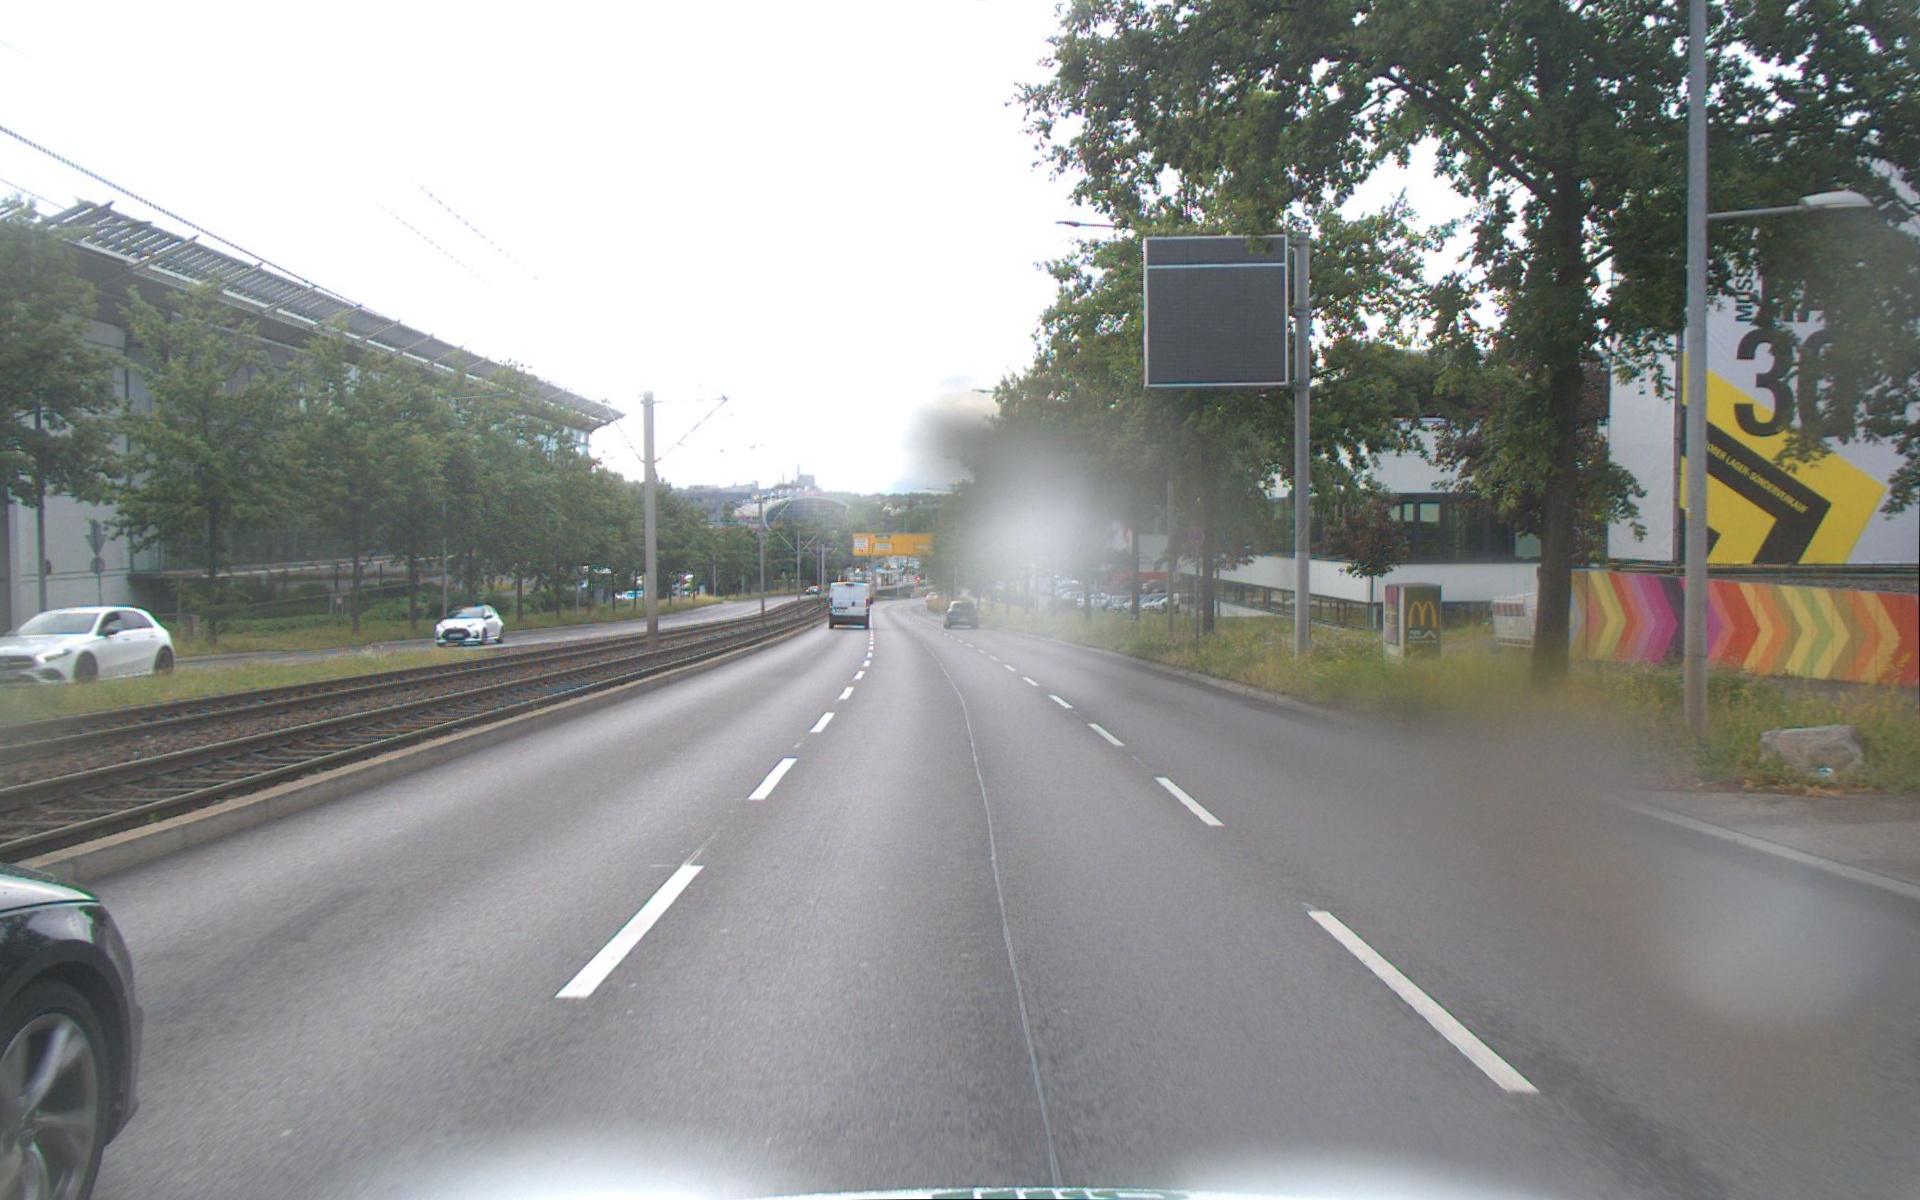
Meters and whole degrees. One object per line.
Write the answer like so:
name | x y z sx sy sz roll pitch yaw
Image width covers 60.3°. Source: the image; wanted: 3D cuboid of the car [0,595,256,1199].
car | -2.728 0.744 2.012 1.754 1.459 4.827 1 1 -1

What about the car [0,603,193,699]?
car | -15.384 0.840 29.028 1.800 1.469 4.428 -2 1 -1

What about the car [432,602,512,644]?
car | -18.293 0.842 62.187 1.842 1.473 4.137 -1 0 -1

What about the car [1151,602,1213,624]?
car | 14.749 0.839 110.164 3.904 1.378 2.000 1 0 2

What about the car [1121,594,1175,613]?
car | 14.155 0.278 124.921 3.904 1.378 2.000 1 0 2

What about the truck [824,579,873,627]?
truck | -5.582 0.154 83.315 2.313 2.301 5.302 1 0 -3

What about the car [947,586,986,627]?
car | 0.311 0.338 88.225 1.953 2.049 3.933 1 0 -1

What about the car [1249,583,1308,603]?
car | 22.918 -0.490 119.076 3.904 1.378 2.000 1 0 2

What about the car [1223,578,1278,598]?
car | 22.083 -0.912 125.913 3.904 1.378 2.000 1 0 2
